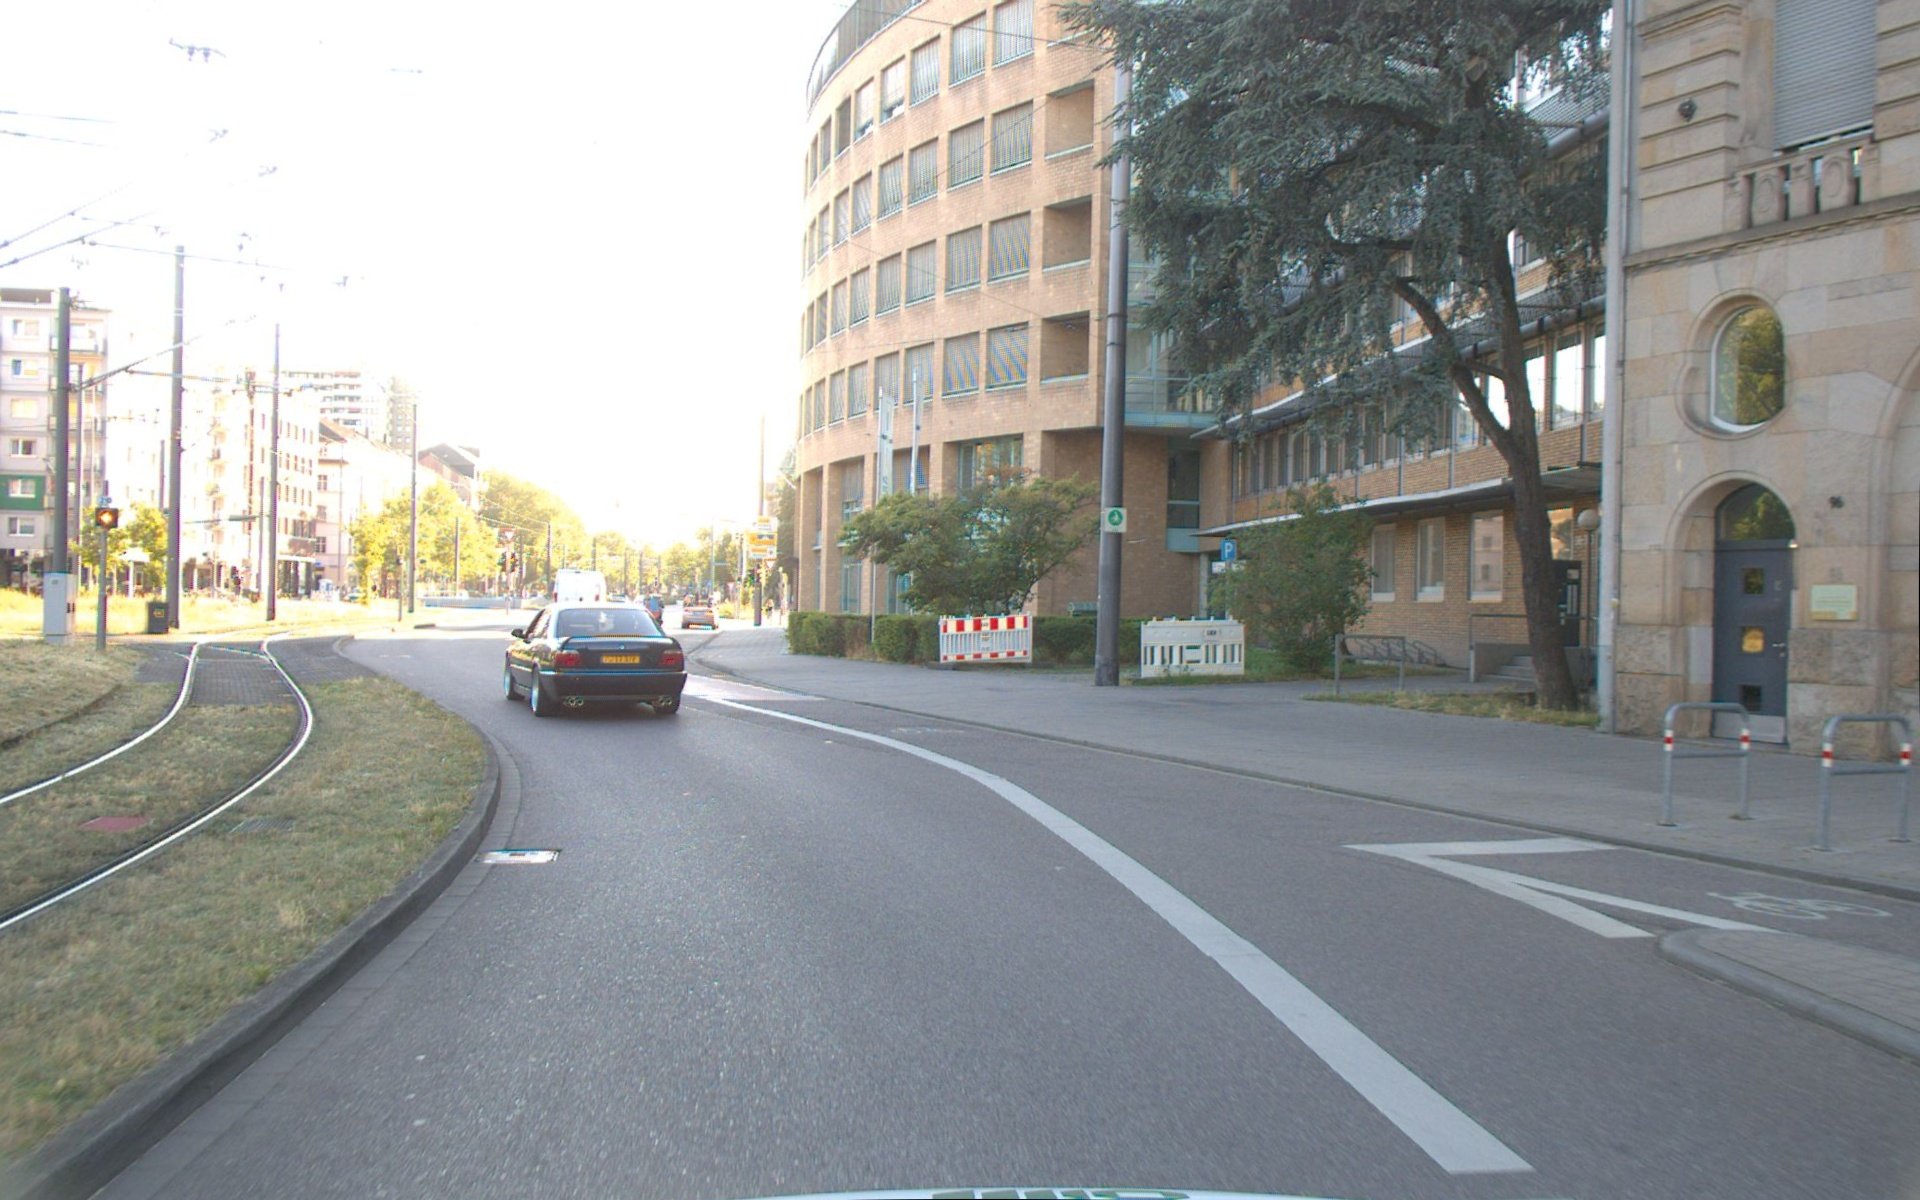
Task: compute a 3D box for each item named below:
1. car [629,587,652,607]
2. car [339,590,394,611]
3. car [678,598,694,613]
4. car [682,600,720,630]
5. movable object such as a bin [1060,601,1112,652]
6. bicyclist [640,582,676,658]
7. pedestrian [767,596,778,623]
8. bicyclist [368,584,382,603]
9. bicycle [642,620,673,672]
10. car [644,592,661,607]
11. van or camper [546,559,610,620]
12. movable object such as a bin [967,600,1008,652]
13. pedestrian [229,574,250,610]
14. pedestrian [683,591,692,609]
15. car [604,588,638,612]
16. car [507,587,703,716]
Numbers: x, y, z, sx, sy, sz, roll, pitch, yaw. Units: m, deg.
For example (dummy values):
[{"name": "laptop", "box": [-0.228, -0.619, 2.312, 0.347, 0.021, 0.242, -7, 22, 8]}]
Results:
[{"name": "car", "box": [-26.434, -0.258, 136.803, 1.762, 1.593, 3.991, 1, 1, -10]}, {"name": "car", "box": [-48.263, 0.055, 134.591, 3.945, 1.459, 1.701, 2, 1, -31]}, {"name": "car", "box": [-31.589, 0.581, 190.882, 1.762, 1.593, 3.991, 1, 1, -10]}, {"name": "car", "box": [-13.289, 0.770, 84.930, 1.750, 1.377, 4.260, 2, 0, -7]}, {"name": "movable object such as a bin", "box": [3.729, 0.776, 48.940, 1.318, 1.449, 0.921, 1, 1, -14]}, {"name": "bicyclist", "box": [-6.240, 0.408, 34.146, 0.643, 1.509, 1.035, 3, -1, -12]}, {"name": "pedestrian", "box": [-11.355, 0.550, 100.128, 0.664, 1.597, 0.799, 1, 1, -9]}, {"name": "bicyclist", "box": [-47.149, -0.537, 133.308, 0.844, 1.467, 0.657, 3, 0, -29]}, {"name": "bicycle", "box": [-6.245, 0.930, 34.094, 0.506, 0.971, 1.770, 3, 0, -13]}, {"name": "car", "box": [-33.039, -0.059, 177.643, 1.762, 1.593, 3.991, 1, 1, -10]}, {"name": "van or camper", "box": [-17.171, -0.504, 74.548, 2.219, 2.670, 4.498, 1, 1, -6]}, {"name": "movable object such as a bin", "box": [0.820, 0.750, 48.886, 0.950, 1.462, 1.346, 1, 1, 12]}, {"name": "pedestrian", "box": [-36.827, -0.404, 84.557, 0.704, 1.793, 0.651, 1, 1, 15]}, {"name": "pedestrian", "box": [-22.510, -0.006, 136.556, 0.604, 1.501, 0.800, 1, 1, -2]}, {"name": "car", "box": [-22.275, -0.015, 108.773, 1.704, 1.410, 3.996, 1, 1, -6]}, {"name": "car", "box": [-4.867, 0.616, 22.179, 1.804, 1.377, 4.611, 1, 2, -22]}]
